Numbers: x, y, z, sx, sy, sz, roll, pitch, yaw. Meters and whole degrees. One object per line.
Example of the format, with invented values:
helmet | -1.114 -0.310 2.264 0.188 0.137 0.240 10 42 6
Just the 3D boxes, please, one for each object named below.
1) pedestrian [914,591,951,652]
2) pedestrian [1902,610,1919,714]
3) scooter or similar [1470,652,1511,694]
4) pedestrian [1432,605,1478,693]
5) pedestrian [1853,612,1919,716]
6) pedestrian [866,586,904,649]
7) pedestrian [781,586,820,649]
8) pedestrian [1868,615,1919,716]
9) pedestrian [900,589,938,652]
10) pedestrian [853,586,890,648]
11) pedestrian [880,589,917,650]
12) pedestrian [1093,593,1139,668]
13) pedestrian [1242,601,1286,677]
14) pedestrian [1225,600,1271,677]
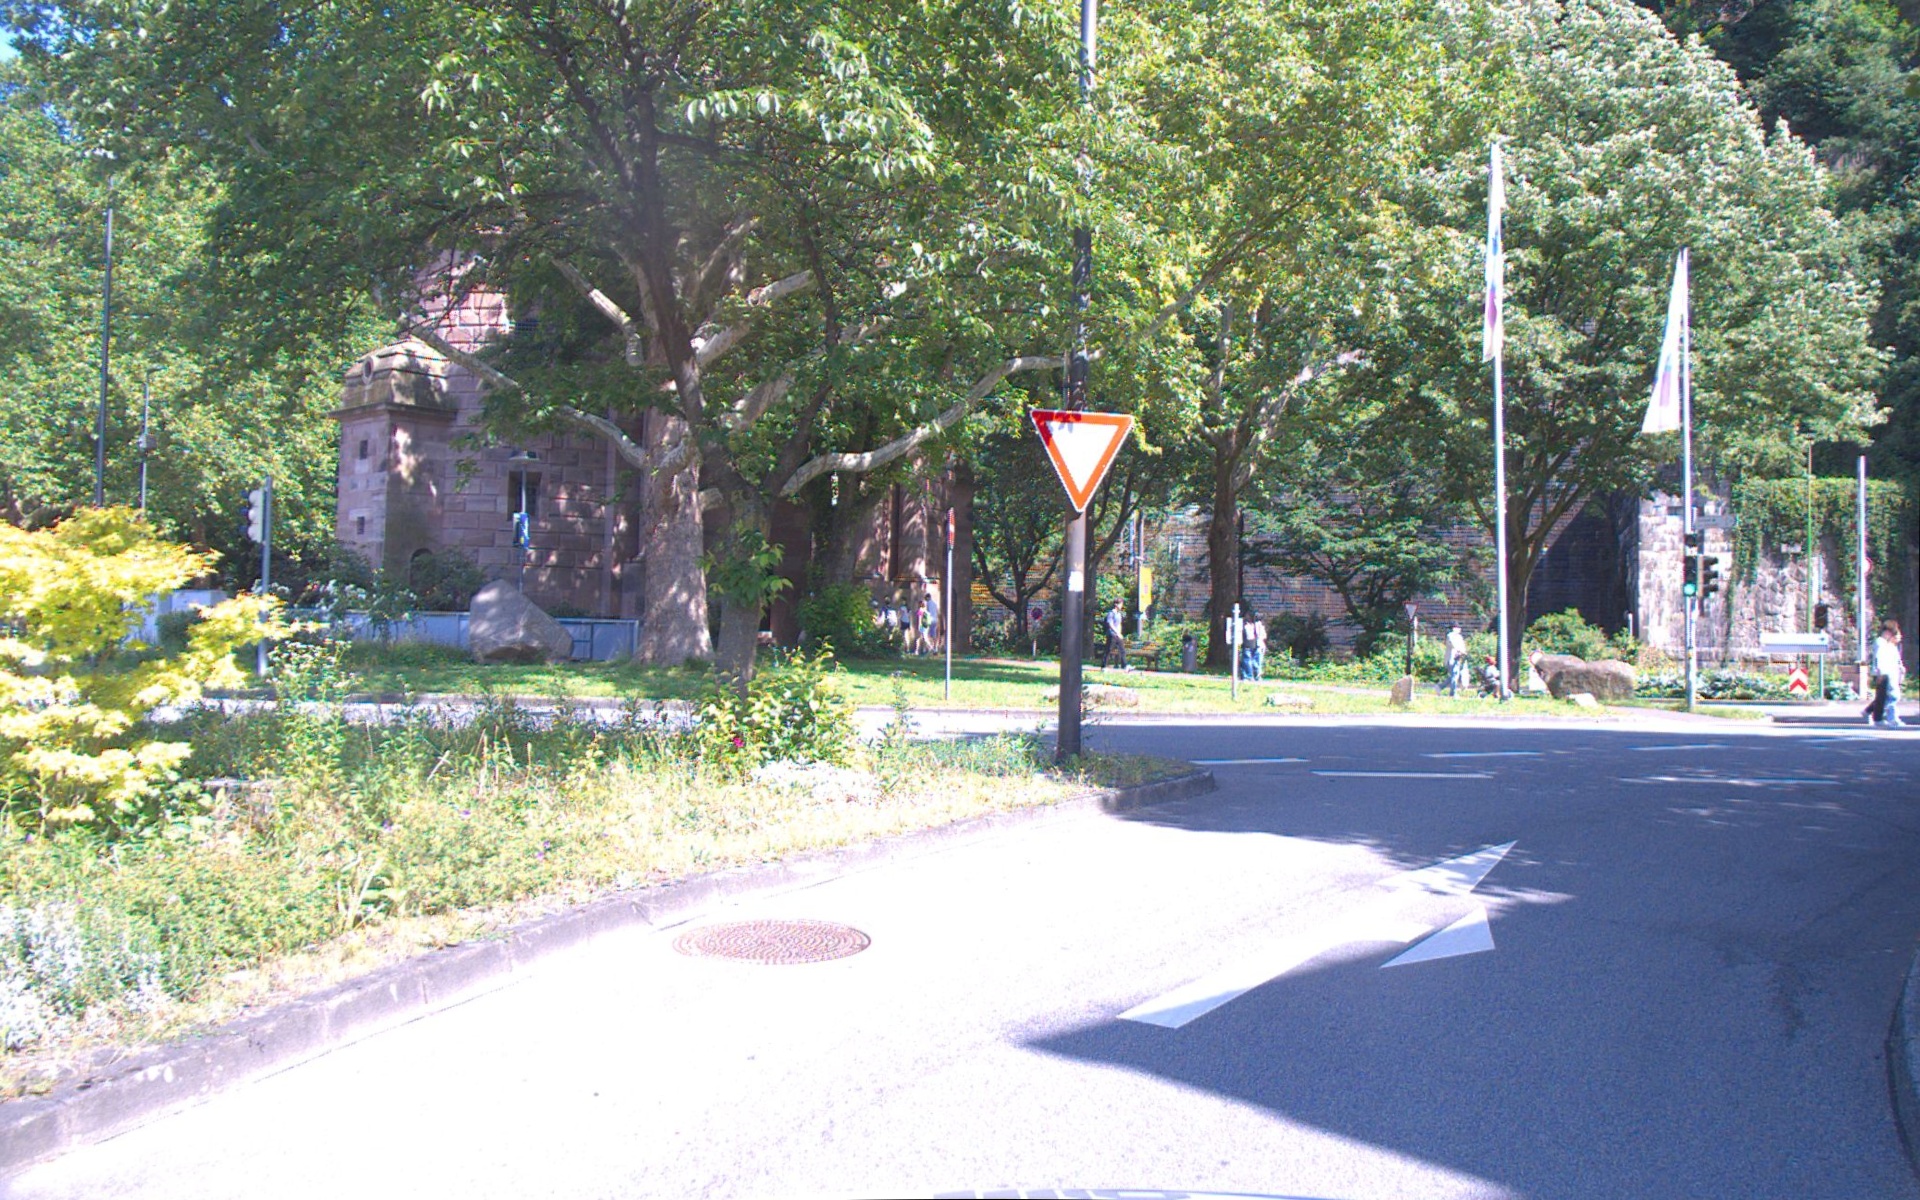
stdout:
pedestrian | -0.827 0.641 49.256 0.786 1.786 0.657 4 -2 -37
pedestrian | 16.760 1.083 28.399 0.756 1.786 0.752 4 -2 -37
scooter or similar | 10.912 1.493 34.017 0.717 0.826 0.569 1 0 30
pedestrian | 10.305 1.002 34.409 0.746 1.786 0.763 1 0 30
pedestrian | 16.438 1.127 29.367 0.756 1.786 0.752 4 -2 -37
pedestrian | -2.184 0.513 48.115 0.786 1.786 0.657 4 -2 -37
pedestrian | -4.655 0.505 48.153 0.786 1.813 0.864 1 0 -37
pedestrian | 17.012 1.186 29.904 0.756 1.786 0.752 4 -2 -37
pedestrian | -1.189 0.597 48.177 0.786 1.786 0.657 4 -2 -37
pedestrian | -2.630 0.516 48.982 0.786 1.786 0.657 4 -2 -37
pedestrian | -1.835 0.582 49.419 0.786 1.786 0.657 4 -2 -37
pedestrian | 3.822 0.737 40.551 0.786 1.786 0.713 4 -2 -37
pedestrian | 7.434 0.954 40.457 0.786 1.786 0.657 4 -2 -37
pedestrian | 6.918 0.920 39.752 0.786 1.786 0.657 4 -2 -37
